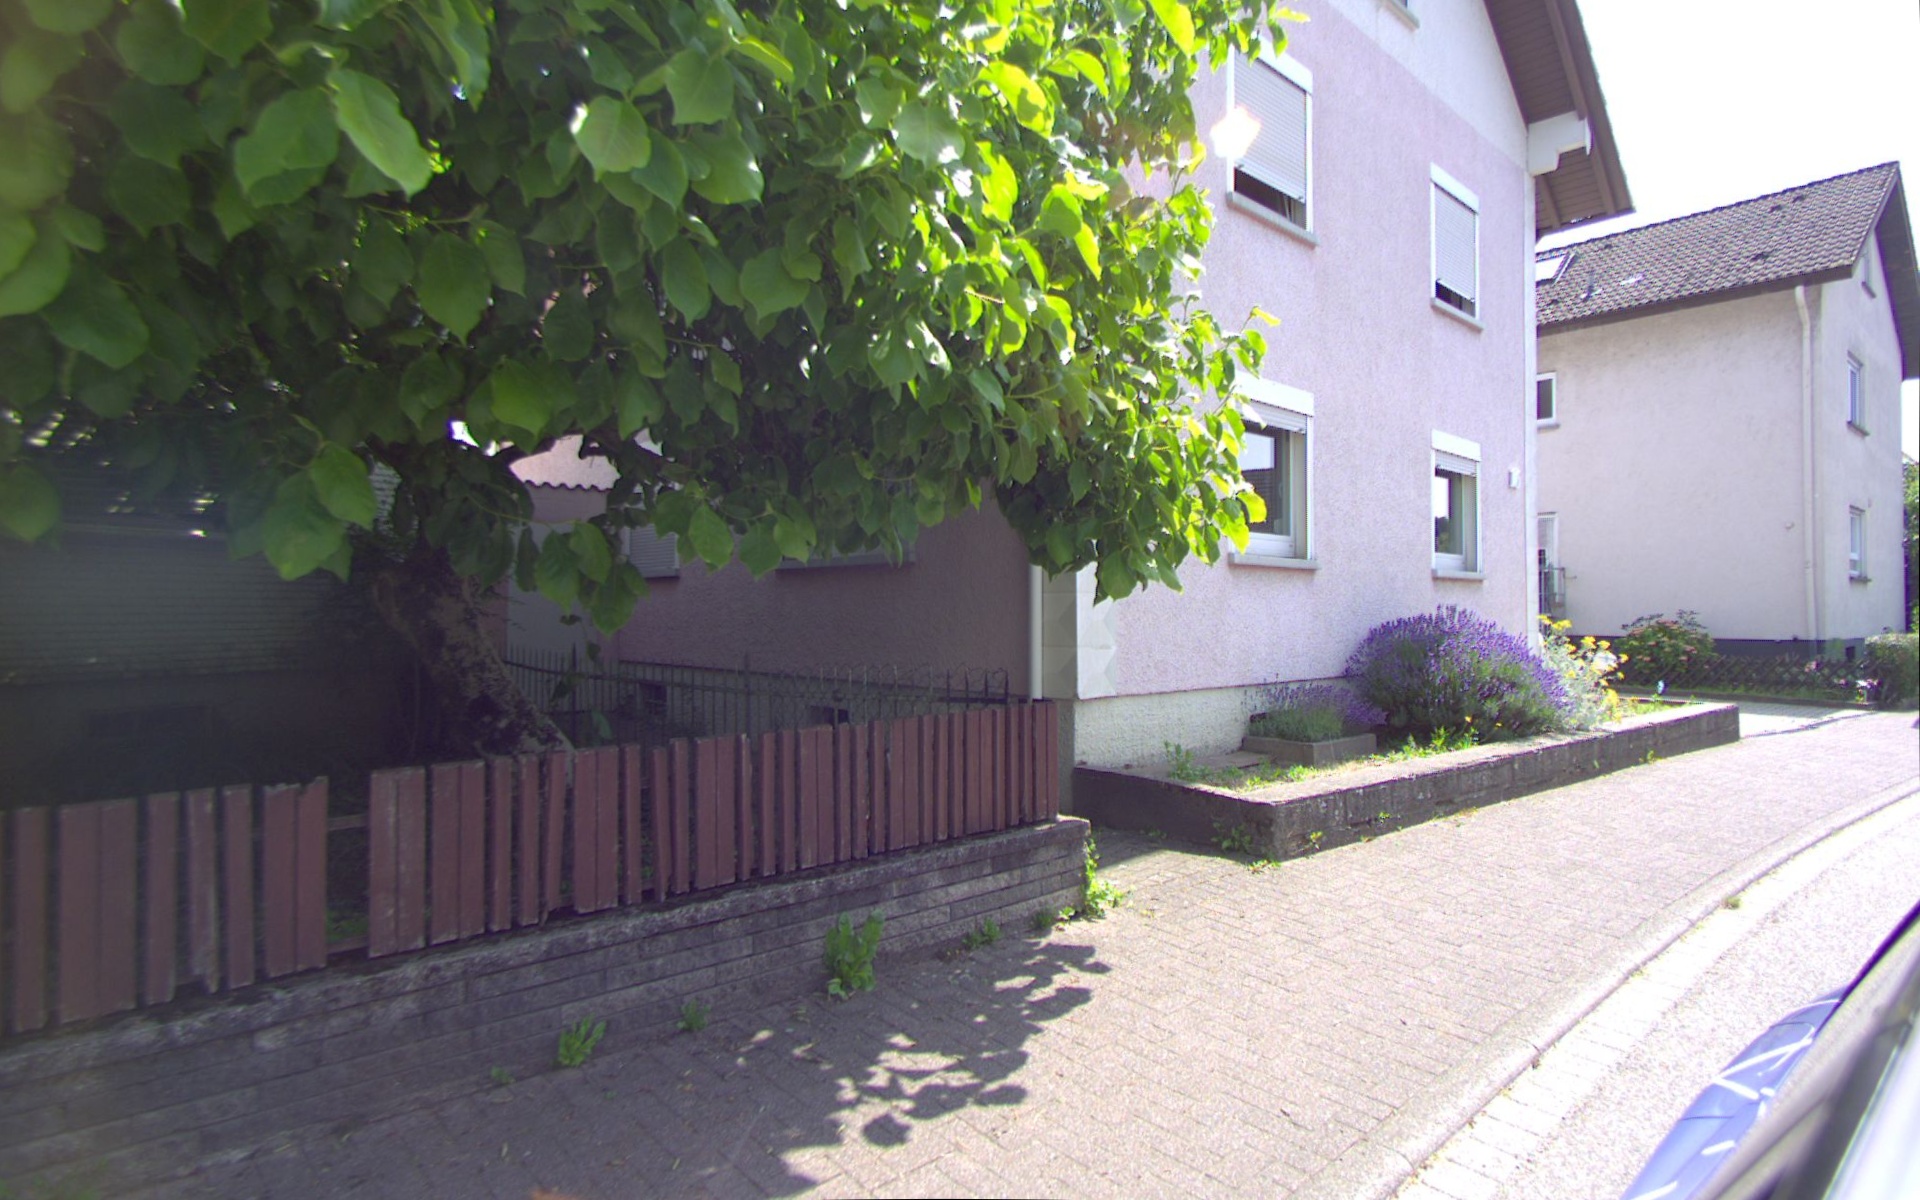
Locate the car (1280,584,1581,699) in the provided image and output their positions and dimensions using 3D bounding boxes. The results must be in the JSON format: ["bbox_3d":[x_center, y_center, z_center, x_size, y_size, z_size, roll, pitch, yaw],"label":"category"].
[{"bbox_3d":[6.926,0.526,15.149,1.653,1.479,3.751,1,0,-44],"label":"car"}]
